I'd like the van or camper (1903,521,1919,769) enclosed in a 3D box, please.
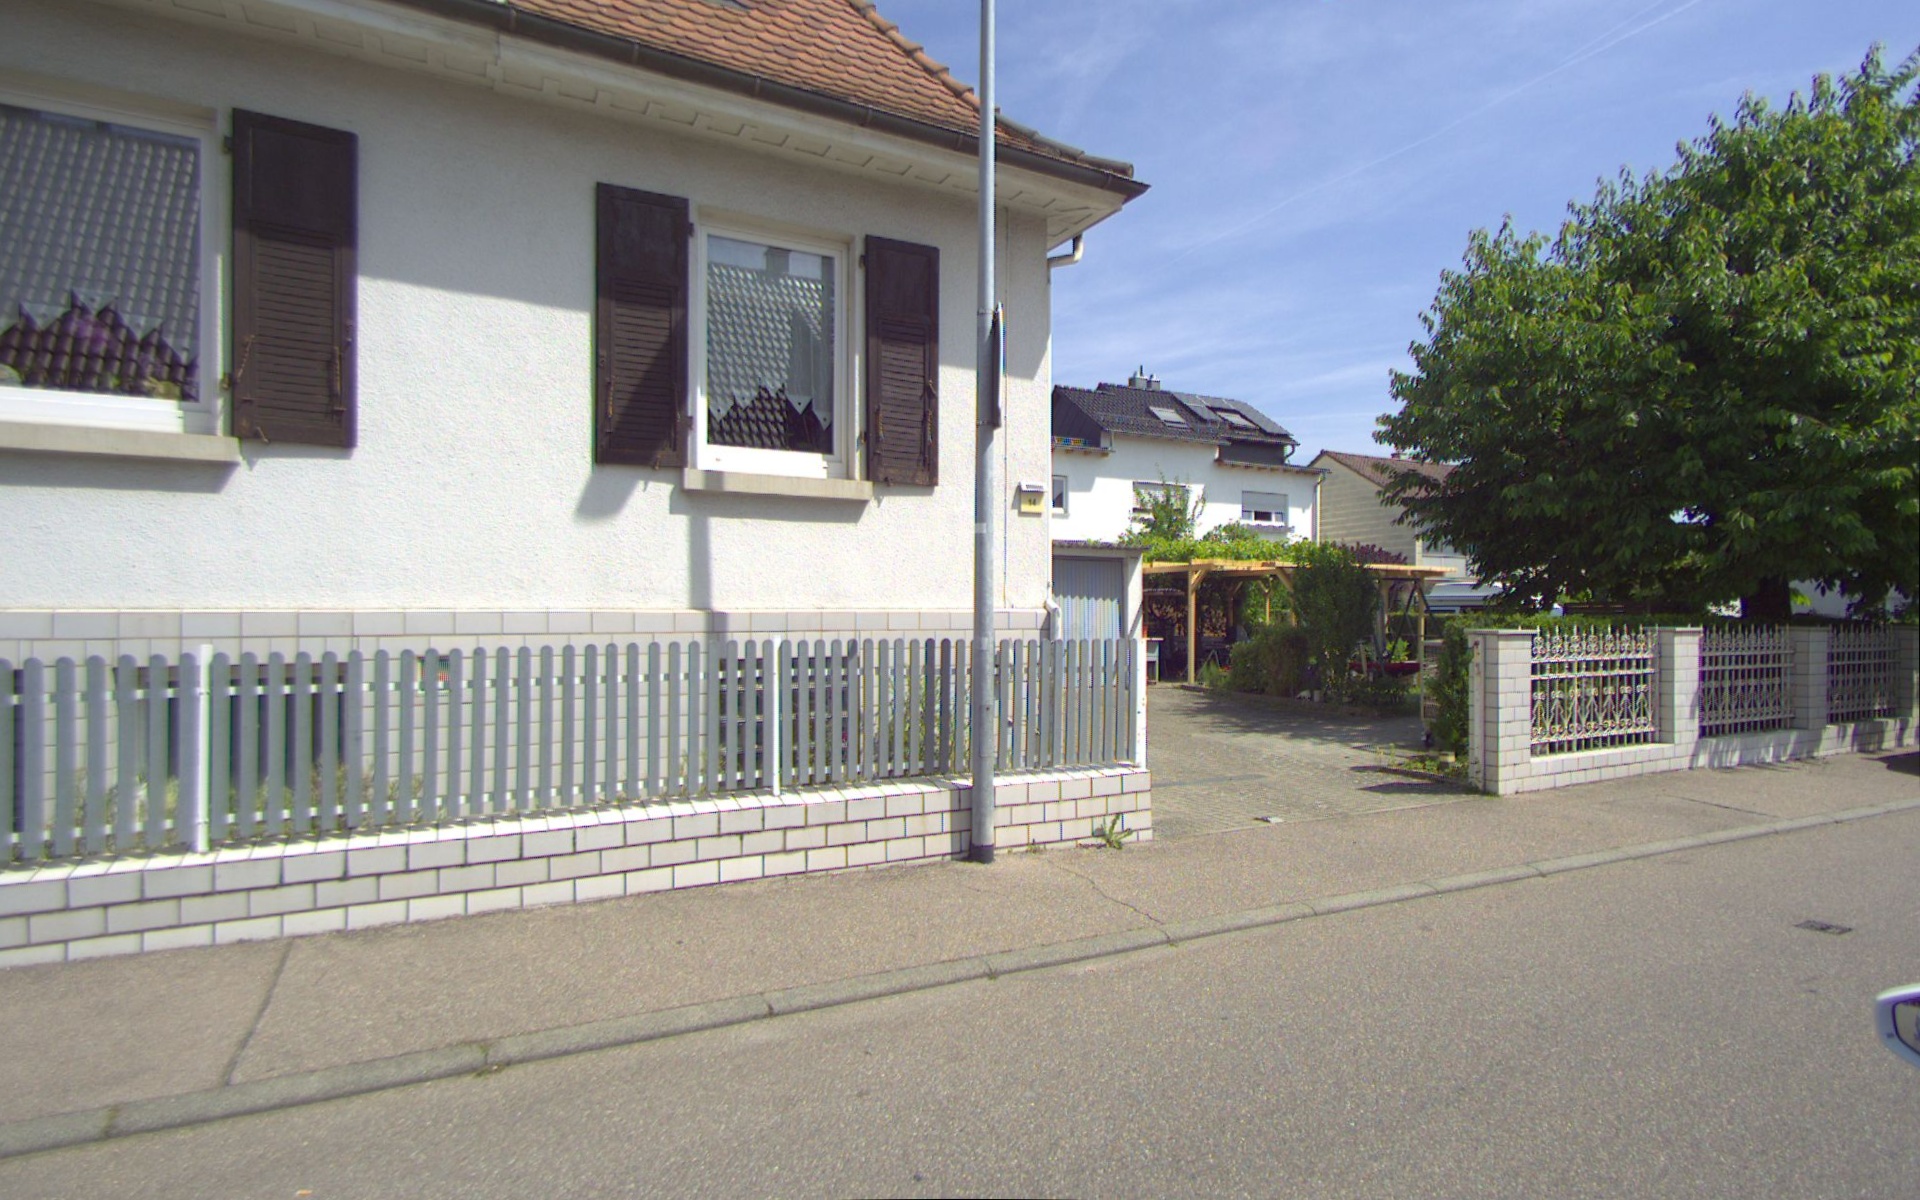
[{"bbox_3d":[13.461,0.536,11.315,6.724,2.606,2.175,1,0,-29],"label":"van or camper"}]

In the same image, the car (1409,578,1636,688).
[{"bbox_3d":[14.191,0.807,25.643,1.942,2.525,4.782,1,-1,-29],"label":"car"}]
